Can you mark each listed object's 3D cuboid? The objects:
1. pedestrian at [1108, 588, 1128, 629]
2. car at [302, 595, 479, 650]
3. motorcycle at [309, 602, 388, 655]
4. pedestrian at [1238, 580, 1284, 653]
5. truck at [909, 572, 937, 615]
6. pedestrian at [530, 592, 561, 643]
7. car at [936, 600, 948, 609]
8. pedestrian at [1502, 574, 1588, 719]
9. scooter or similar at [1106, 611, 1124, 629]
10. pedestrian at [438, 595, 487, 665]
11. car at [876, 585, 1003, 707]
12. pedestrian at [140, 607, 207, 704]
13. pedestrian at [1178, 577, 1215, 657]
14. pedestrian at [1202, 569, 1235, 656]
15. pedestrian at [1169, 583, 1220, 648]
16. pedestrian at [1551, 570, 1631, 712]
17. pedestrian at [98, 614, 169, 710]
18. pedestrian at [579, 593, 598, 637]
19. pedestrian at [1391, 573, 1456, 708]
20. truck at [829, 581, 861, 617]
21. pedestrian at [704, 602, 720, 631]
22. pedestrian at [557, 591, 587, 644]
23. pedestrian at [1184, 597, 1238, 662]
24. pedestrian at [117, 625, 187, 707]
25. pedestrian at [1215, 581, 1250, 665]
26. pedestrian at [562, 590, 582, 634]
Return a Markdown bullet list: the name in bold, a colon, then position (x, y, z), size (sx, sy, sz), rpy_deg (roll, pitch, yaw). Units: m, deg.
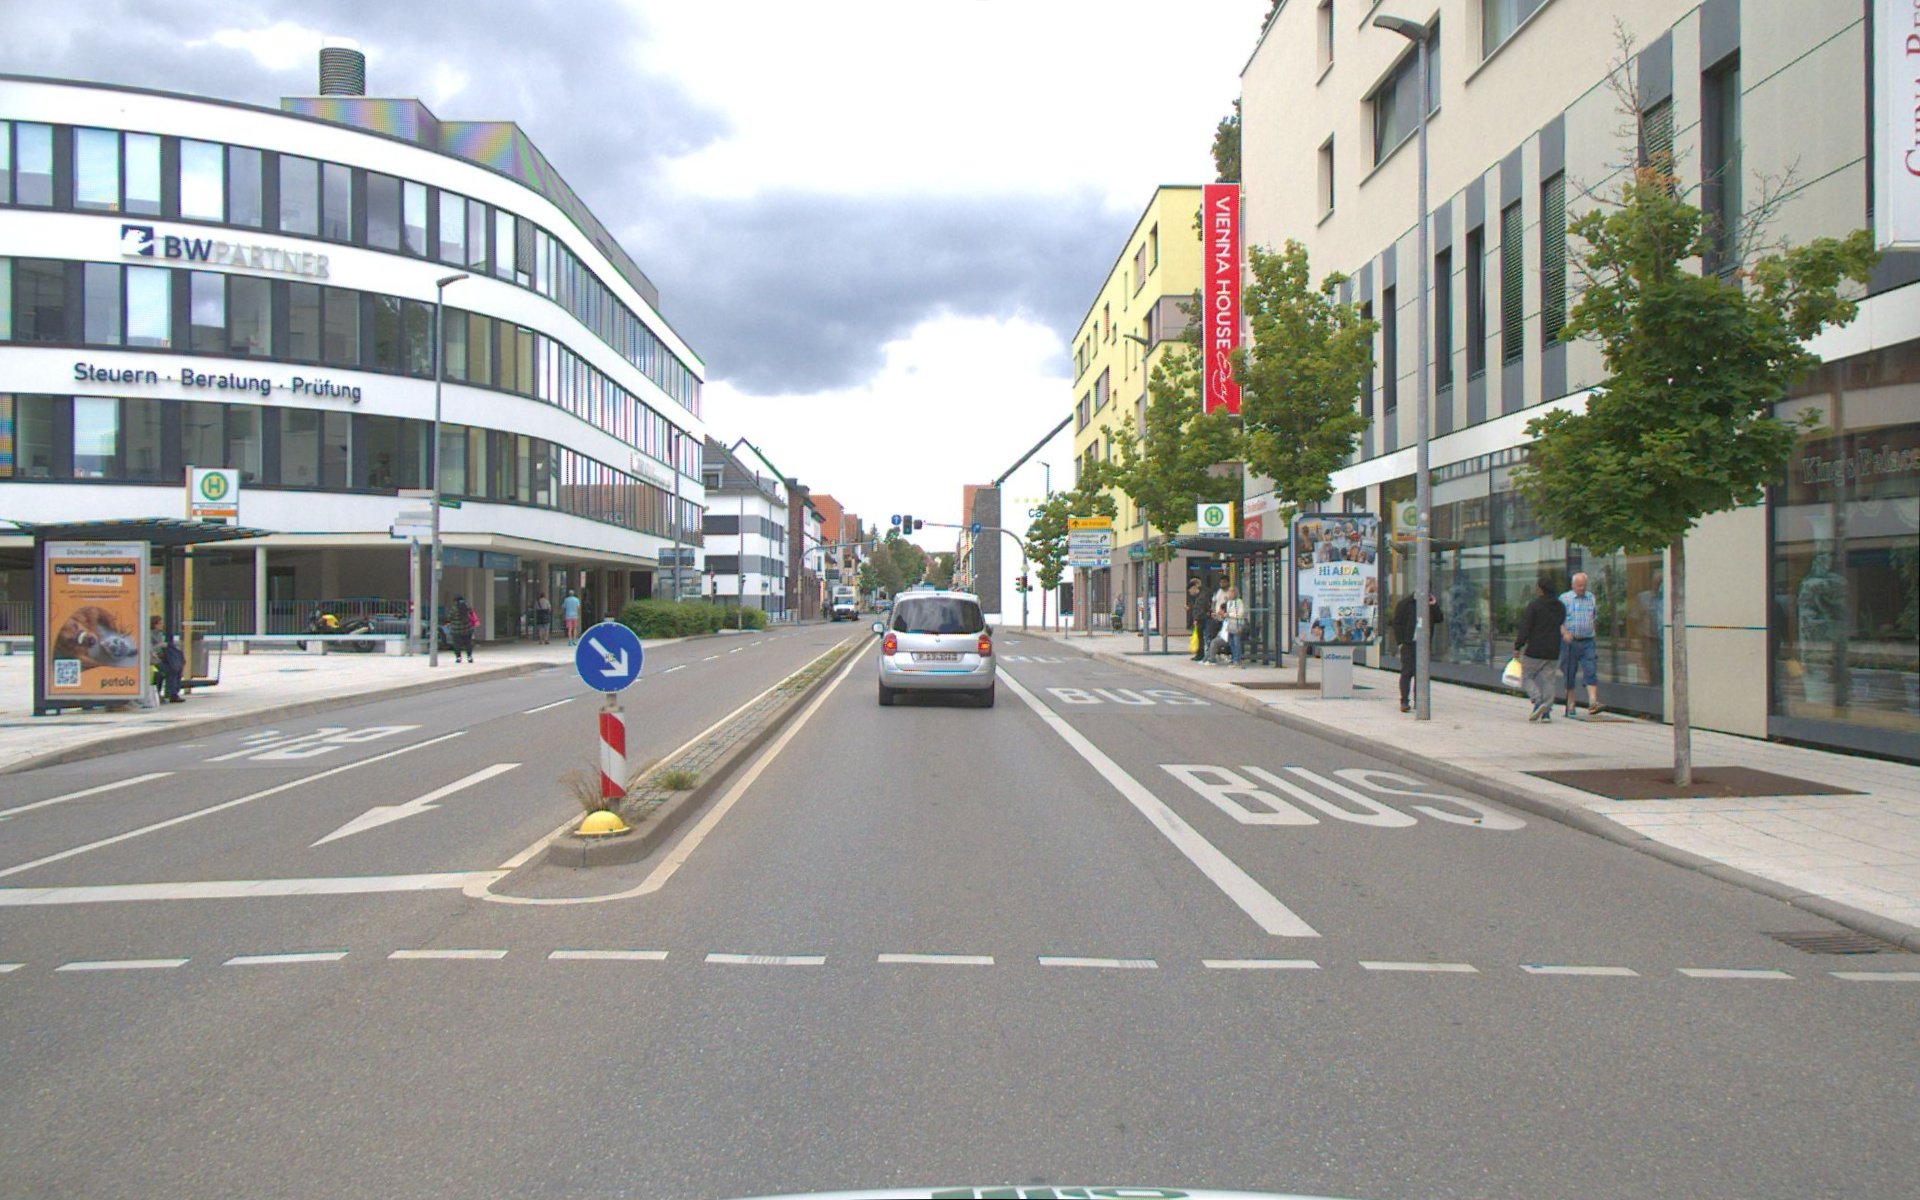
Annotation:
- **pedestrian**: position (6.358, 0.341, 66.468), size (0.681, 1.621, 0.603), rpy_deg (-1, 0, -3)
- **car**: position (-16.306, 0.637, 47.505), size (4.362, 1.440, 1.903), rpy_deg (2, 0, 4)
- **motorcycle**: position (-16.184, 0.750, 43.783), size (1.816, 1.356, 0.636), rpy_deg (2, 0, 2)
- **pedestrian**: position (6.769, 0.360, 37.180), size (0.851, 1.611, 0.804), rpy_deg (0, 0, -2)
- **truck**: position (-3.483, -0.604, 155.471), size (2.543, 3.925, 6.847), rpy_deg (0, 0, -1)
- **pedestrian**: position (-13.584, 0.574, 54.208), size (0.715, 1.641, 0.931), rpy_deg (1, 0, 0)
- **car**: position (-2.660, 0.676, 245.558), size (1.776, 1.378, 3.999), rpy_deg (-1, 0, -1)
- **pedestrian**: position (6.741, 0.523, 19.073), size (0.725, 1.636, 0.714), rpy_deg (0, 0, -1)
- **scooter or similar**: position (6.154, 0.793, 65.735), size (0.580, 0.684, 0.824), rpy_deg (-1, 0, -2)
- **pedestrian**: position (-11.615, 0.688, 38.634), size (0.812, 1.594, 0.813), rpy_deg (1, 0, 4)
- **car**: position (-0.322, 0.624, 24.297), size (1.672, 1.606, 3.999), rpy_deg (2, 0, -2)
- **pedestrian**: position (-11.306, 0.792, 23.789), size (0.670, 1.343, 0.576), rpy_deg (-2, 0, -3)
- **pedestrian**: position (5.139, 0.374, 36.033), size (0.705, 1.713, 0.733), rpy_deg (-1, 0, 4)
- **pedestrian**: position (5.421, 0.260, 34.735), size (0.567, 1.800, 0.857), rpy_deg (-1, 0, 4)
- **pedestrian**: position (5.912, 0.376, 41.718), size (0.932, 1.611, 1.011), rpy_deg (0, 0, -17)
- **pedestrian**: position (7.663, 0.493, 20.115), size (0.729, 1.698, 0.614), rpy_deg (0, 0, -1)
- **pedestrian**: position (-11.251, 0.839, 22.517), size (0.670, 1.275, 0.576), rpy_deg (-1, 0, -3)
- **pedestrian**: position (-14.799, 0.584, 65.830), size (0.607, 1.740, 0.501), rpy_deg (0, -1, -32)
- **pedestrian**: position (5.901, 0.505, 21.061), size (0.641, 1.698, 0.614), rpy_deg (0, 0, -1)
- **truck**: position (-10.067, -0.077, 145.402), size (2.386, 3.005, 8.361), rpy_deg (2, 0, -2)
- **pedestrian**: position (-14.788, 0.989, 98.599), size (0.864, 1.698, 0.814), rpy_deg (0, 2, -3)
- **pedestrian**: position (-12.512, 0.559, 53.380), size (0.715, 1.703, 0.931), rpy_deg (1, 0, 0)
- **pedestrian**: position (5.085, 0.602, 33.599), size (0.924, 1.281, 0.732), rpy_deg (-1, 0, -4)
- **pedestrian**: position (-11.288, 0.912, 23.118), size (0.670, 1.094, 0.576), rpy_deg (-2, 0, -3)
- **pedestrian**: position (5.348, 0.440, 32.475), size (0.567, 1.618, 0.733), rpy_deg (-1, 0, 4)
- **pedestrian**: position (-15.558, 0.482, 66.285), size (0.495, 1.760, 0.614), rpy_deg (-1, -1, 30)
